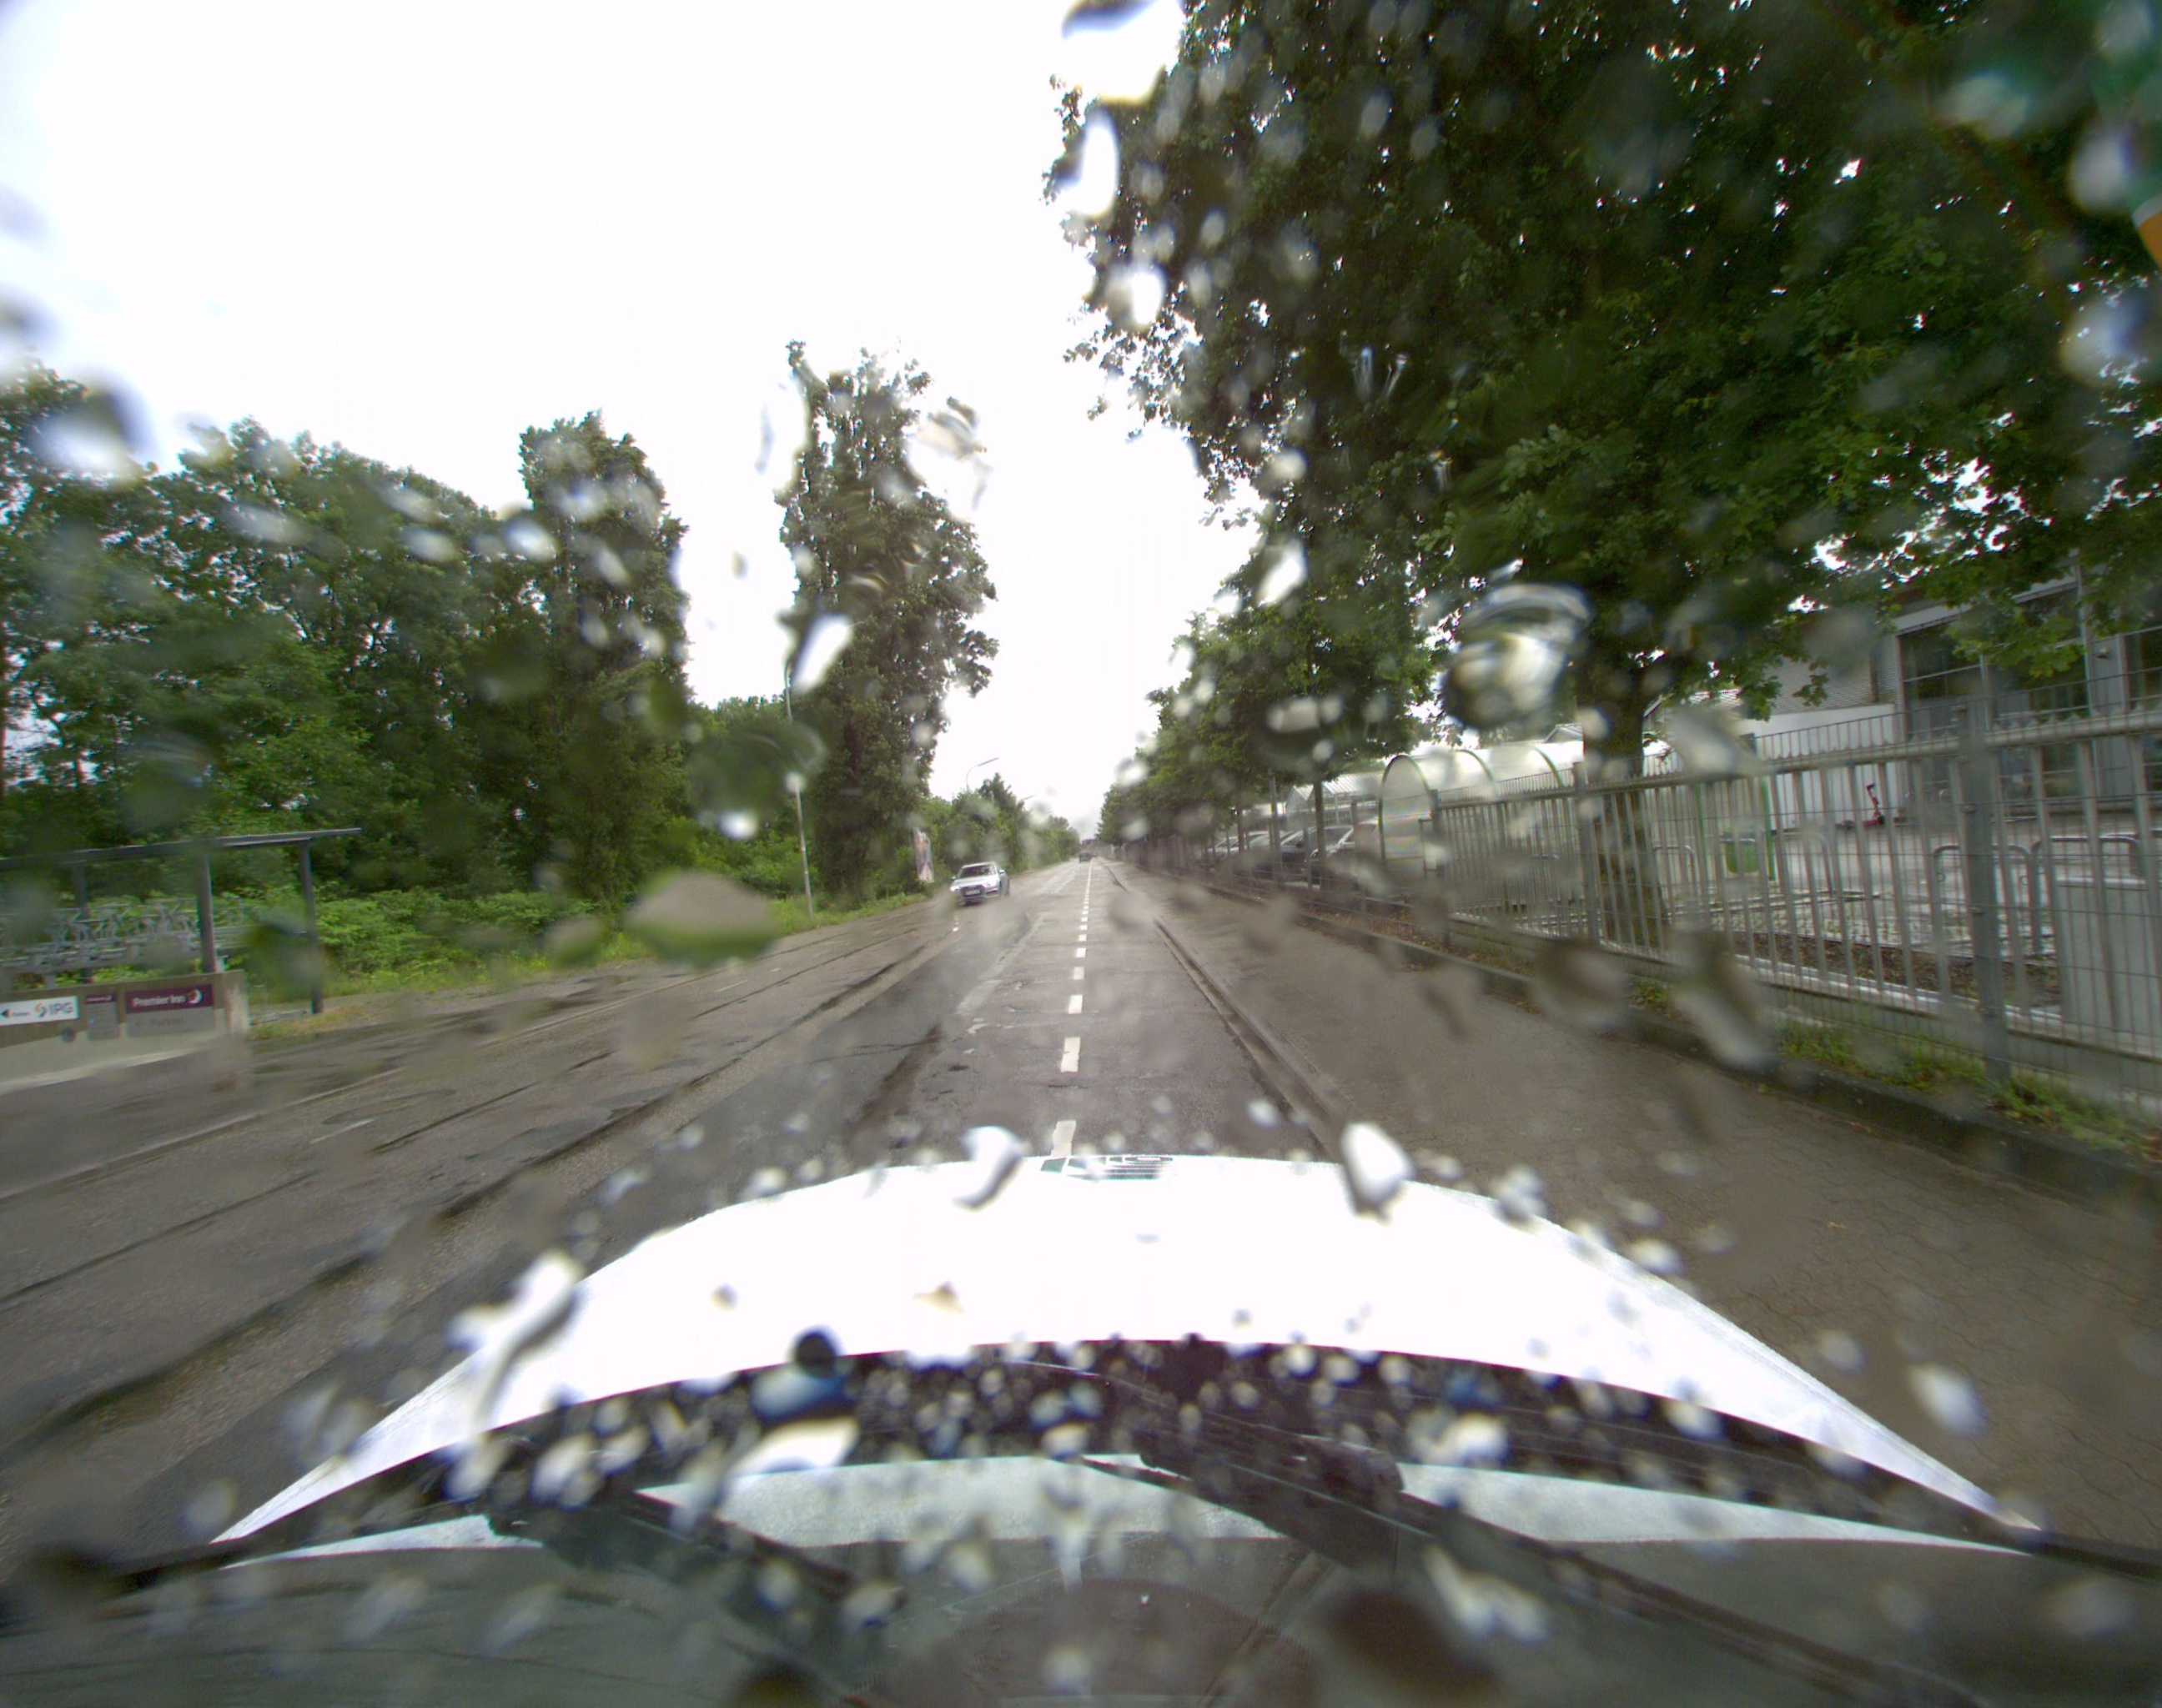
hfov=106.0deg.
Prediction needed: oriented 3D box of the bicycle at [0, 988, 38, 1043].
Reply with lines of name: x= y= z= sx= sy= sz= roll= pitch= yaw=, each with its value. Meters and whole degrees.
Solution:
bicycle: x=-18.558 y=2.800 z=13.383 sx=0.514 sy=0.858 sz=1.704 roll=-7 pitch=0 yaw=1

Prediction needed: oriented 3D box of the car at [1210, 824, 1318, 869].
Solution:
car: x=7.999 y=-0.306 z=35.801 sx=4.204 sy=1.534 sz=1.820 roll=-6 pitch=0 yaw=-7

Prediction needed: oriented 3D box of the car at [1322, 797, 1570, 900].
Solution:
car: x=7.377 y=-0.112 z=16.764 sx=4.196 sy=1.600 sz=1.823 roll=-6 pitch=0 yaw=-1

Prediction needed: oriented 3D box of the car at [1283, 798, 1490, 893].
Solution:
car: x=7.293 y=-0.206 z=19.650 sx=4.204 sy=1.794 sz=1.820 roll=-6 pitch=0 yaw=-7

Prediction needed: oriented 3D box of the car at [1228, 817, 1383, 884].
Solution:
car: x=6.975 y=-0.124 z=25.517 sx=4.204 sy=1.618 sz=1.820 roll=-6 pitch=0 yaw=-7

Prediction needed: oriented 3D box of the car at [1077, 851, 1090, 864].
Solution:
car: x=0.470 y=0.539 z=136.519 sx=1.987 sy=1.910 sz=4.200 roll=-6 pitch=-1 yaw=0

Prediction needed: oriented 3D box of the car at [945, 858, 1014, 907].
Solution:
car: x=-3.687 y=0.994 z=30.321 sx=1.727 sy=1.450 sz=4.382 roll=-8 pitch=0 yaw=2

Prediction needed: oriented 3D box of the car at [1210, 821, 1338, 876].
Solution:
car: x=7.170 y=-0.198 z=30.532 sx=4.204 sy=1.618 sz=1.820 roll=-6 pitch=0 yaw=-7

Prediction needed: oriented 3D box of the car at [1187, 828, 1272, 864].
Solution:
car: x=8.182 y=-0.436 z=45.057 sx=4.198 sy=1.588 sz=1.822 roll=-6 pitch=0 yaw=-3

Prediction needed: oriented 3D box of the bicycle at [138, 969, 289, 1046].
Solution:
bicycle: x=-13.881 y=2.435 z=13.107 sx=0.514 sy=0.858 sz=1.672 roll=-7 pitch=0 yaw=1

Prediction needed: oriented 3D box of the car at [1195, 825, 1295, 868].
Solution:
car: x=7.703 y=-0.332 z=38.470 sx=4.204 sy=1.588 sz=1.820 roll=-6 pitch=0 yaw=-7

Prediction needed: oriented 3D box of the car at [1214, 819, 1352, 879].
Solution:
car: x=6.982 y=-0.167 z=28.390 sx=4.204 sy=1.618 sz=1.820 roll=-6 pitch=0 yaw=-7
